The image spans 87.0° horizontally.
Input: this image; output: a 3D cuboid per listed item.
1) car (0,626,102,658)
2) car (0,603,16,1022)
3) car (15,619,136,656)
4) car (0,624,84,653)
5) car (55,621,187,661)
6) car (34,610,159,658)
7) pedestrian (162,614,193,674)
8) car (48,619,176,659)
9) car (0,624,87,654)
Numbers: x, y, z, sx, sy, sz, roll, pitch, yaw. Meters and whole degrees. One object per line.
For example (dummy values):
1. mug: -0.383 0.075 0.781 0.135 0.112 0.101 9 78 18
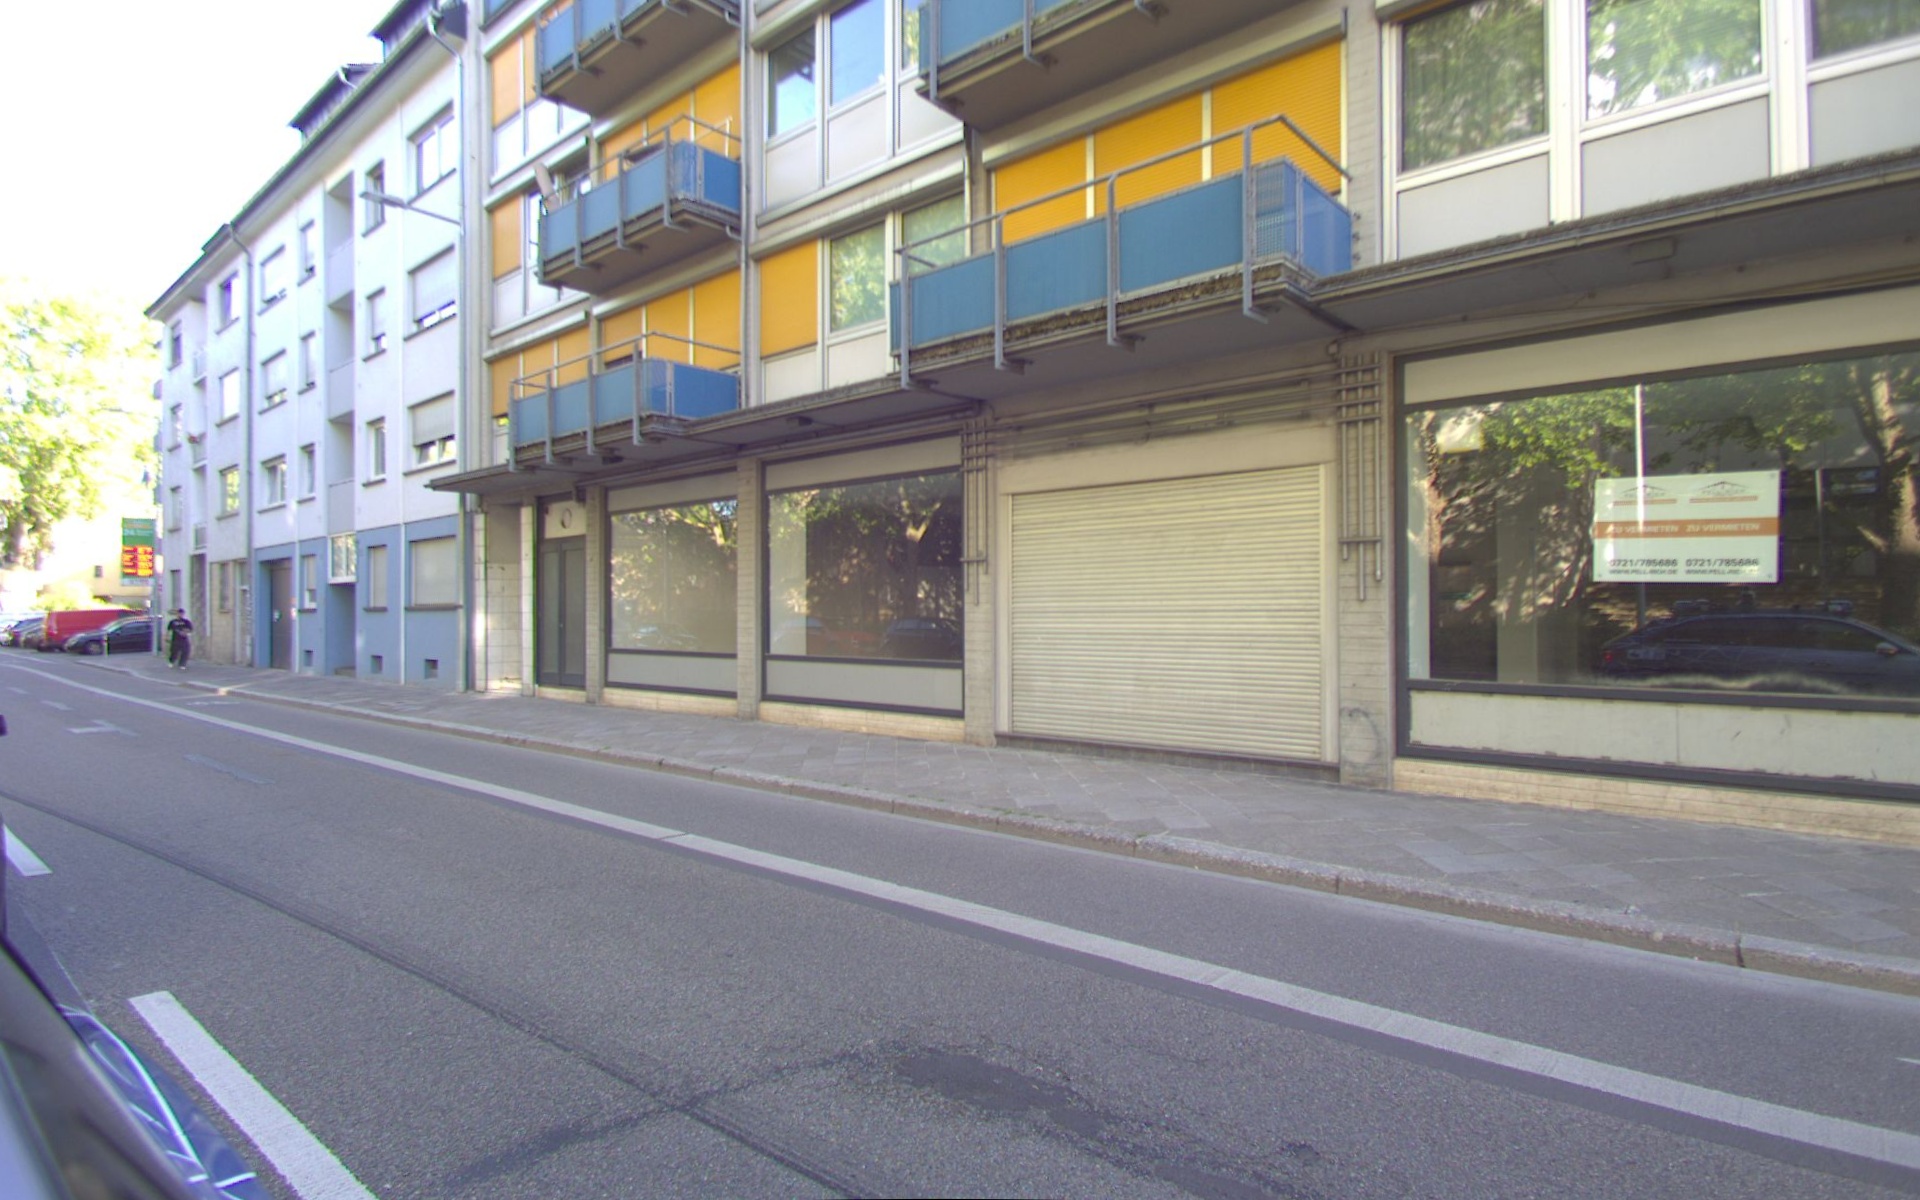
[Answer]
1. car: -50.469 2.295 56.109 1.652 1.480 4.201 -1 1 41
2. car: -5.648 0.800 4.409 4.300 1.510 1.826 -1 -1 41
3. car: -42.761 1.793 49.019 1.652 1.480 4.201 -1 1 41
4. car: -55.884 2.301 61.201 1.652 1.480 4.201 -1 1 41
5. car: -36.499 1.747 44.098 1.652 1.411 4.201 -1 1 41
6. car: -40.573 1.561 47.623 1.817 1.933 4.202 -1 1 40
7. pedestrian: -22.887 1.274 29.617 0.655 1.708 0.604 -2 -1 41
8. car: -38.192 1.734 45.661 1.652 1.480 4.201 -1 1 41
9. car: -54.502 2.281 59.794 1.652 1.480 4.201 -1 1 41
